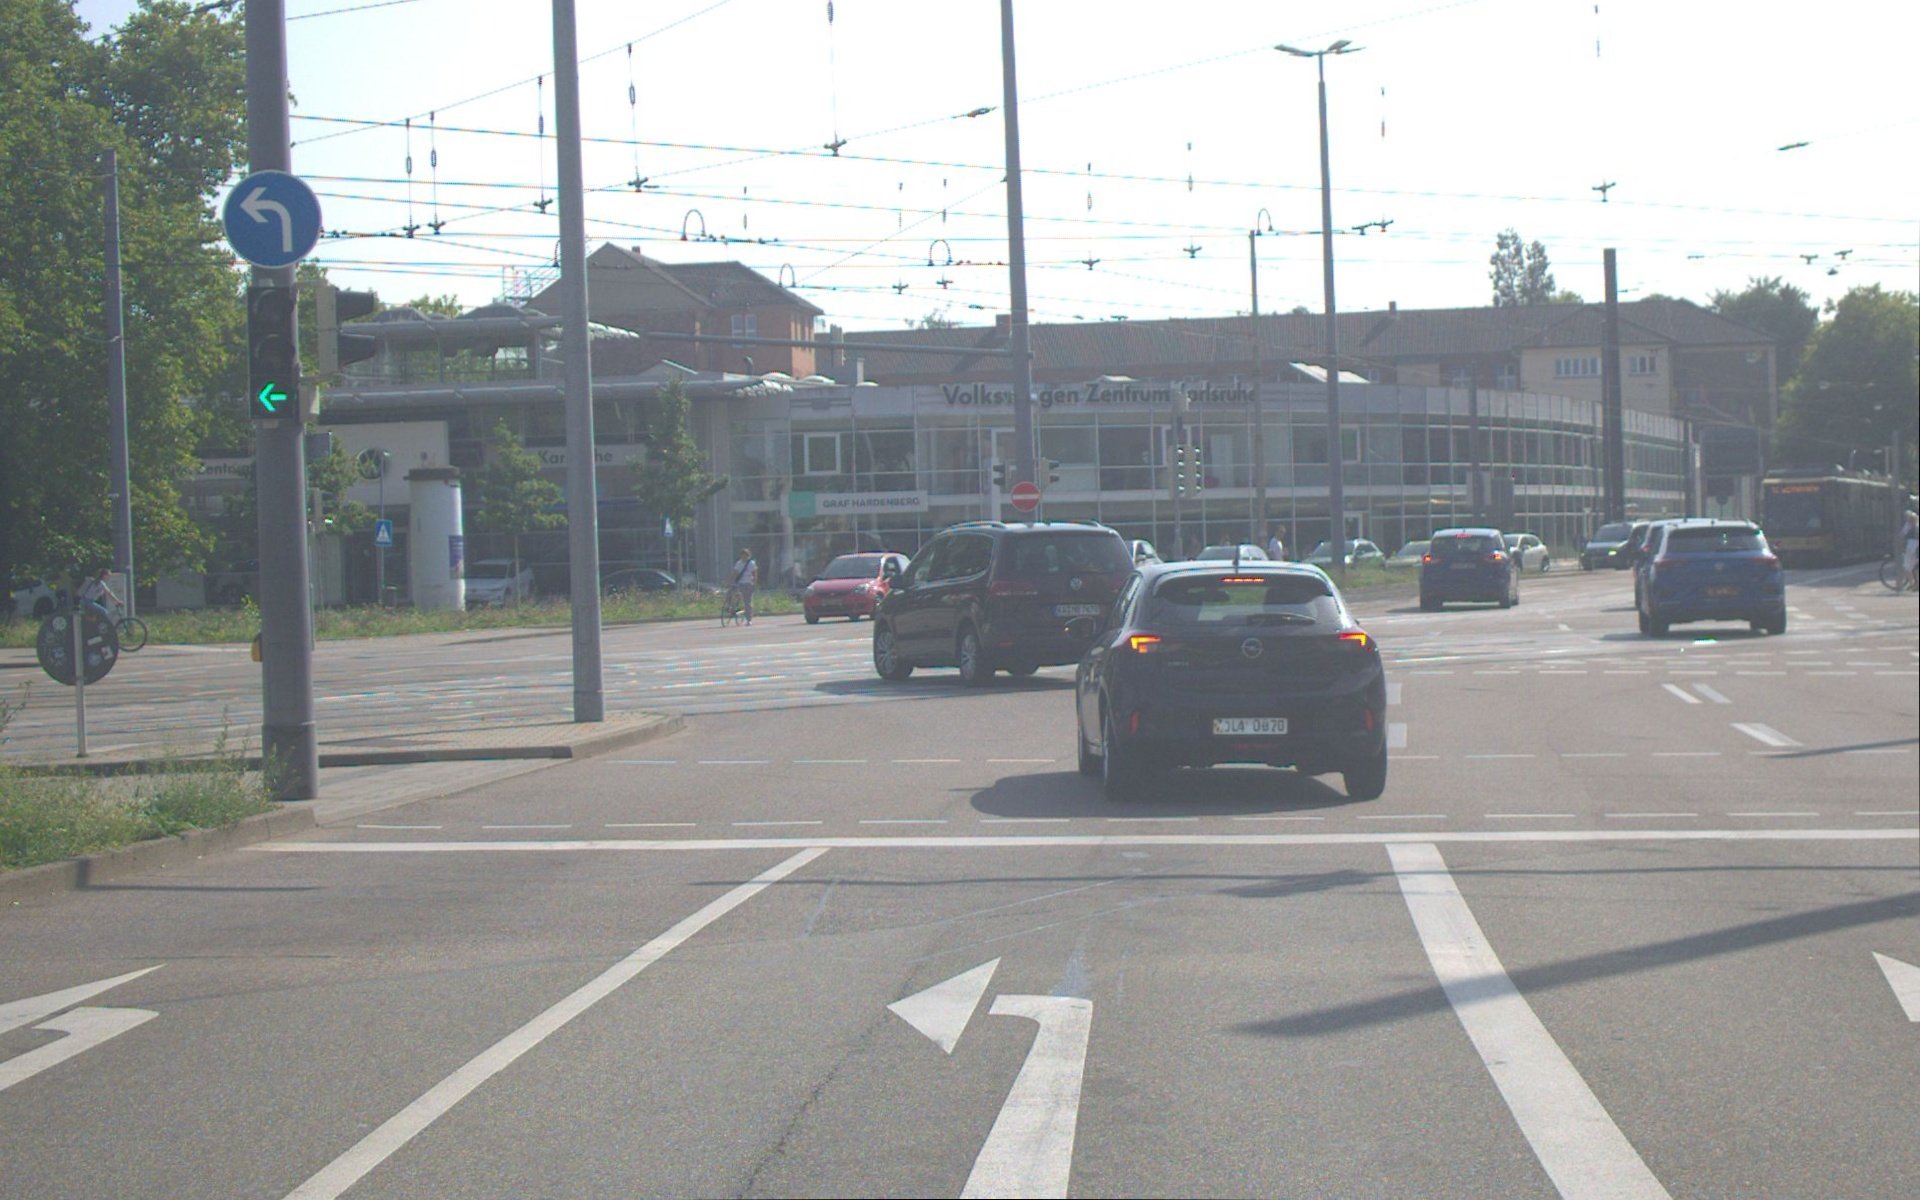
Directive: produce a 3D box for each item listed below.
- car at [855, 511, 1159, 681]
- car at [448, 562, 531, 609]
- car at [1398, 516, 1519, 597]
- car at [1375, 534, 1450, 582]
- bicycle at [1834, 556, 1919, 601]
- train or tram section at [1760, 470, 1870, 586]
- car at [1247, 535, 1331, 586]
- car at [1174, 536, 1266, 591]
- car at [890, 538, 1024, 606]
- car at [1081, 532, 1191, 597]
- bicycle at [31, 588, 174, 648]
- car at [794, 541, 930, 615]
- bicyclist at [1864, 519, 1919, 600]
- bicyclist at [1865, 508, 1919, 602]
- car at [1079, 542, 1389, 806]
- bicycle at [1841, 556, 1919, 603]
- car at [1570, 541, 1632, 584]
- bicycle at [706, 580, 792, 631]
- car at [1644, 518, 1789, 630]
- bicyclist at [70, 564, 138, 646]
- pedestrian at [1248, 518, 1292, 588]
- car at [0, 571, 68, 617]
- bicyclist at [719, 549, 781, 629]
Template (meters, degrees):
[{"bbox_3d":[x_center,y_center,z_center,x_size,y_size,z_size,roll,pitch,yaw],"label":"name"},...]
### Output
[{"bbox_3d":[0.437,-0.077,37.561,1.825,1.708,4.413,-1,1,-20],"label":"car"},{"bbox_3d":[-15.785,-0.503,115.447,1.700,1.517,4.098,-1,1,8],"label":"car"},{"bbox_3d":[10.065,-0.901,69.208,1.827,1.530,4.409,-1,1,15],"label":"car"},{"bbox_3d":[15.132,-1.411,114.848,1.616,1.470,3.996,-3,0,20],"label":"car"},{"bbox_3d":[21.018,-0.494,77.015,2.617,0.961,1.093,-2,1,-20],"label":"bicycle"},{"bbox_3d":[29.037,-2.487,116.422,2.657,3.686,10.580,-1,1,19],"label":"train or tram section"},{"bbox_3d":[10.293,-1.238,107.394,1.616,1.470,3.996,-3,0,20],"label":"car"},{"bbox_3d":[7.615,-1.070,100.511,1.616,1.470,3.996,-3,0,20],"label":"car"},{"bbox_3d":[-0.043,-0.685,82.512,1.962,1.470,3.996,-3,0,19],"label":"car"},{"bbox_3d":[4.353,-0.899,84.655,1.615,1.470,3.996,-3,0,19],"label":"car"},{"bbox_3d":[-16.567,0.337,66.509,2.599,1.053,0.961,-2,1,-11],"label":"bicycle"},{"bbox_3d":[-2.104,-0.502,75.141,1.615,1.470,3.996,-3,0,19],"label":"car"},{"bbox_3d":[20.994,-0.913,77.001,0.934,1.793,1.093,-2,1,-20],"label":"bicyclist"},{"bbox_3d":[20.438,-0.987,74.742,0.934,2.017,1.093,-2,1,-33],"label":"bicyclist"},{"bbox_3d":[1.672,0.392,22.211,1.682,1.486,4.372,2,1,1],"label":"car"},{"bbox_3d":[20.489,-0.446,74.772,2.618,0.961,1.093,-2,1,-33],"label":"bicycle"},{"bbox_3d":[24.055,-1.422,128.954,1.616,1.470,3.996,-3,0,20],"label":"car"},{"bbox_3d":[-4.661,0.115,76.149,0.958,1.053,2.606,-1,1,20],"label":"bicycle"},{"bbox_3d":[10.408,-0.389,47.303,1.826,1.423,4.410,-1,1,13],"label":"car"},{"bbox_3d":[-16.549,0.094,66.508,1.162,1.522,0.961,-3,1,-11],"label":"bicyclist"},{"bbox_3d":[6.771,-1.032,75.184,0.778,1.498,0.709,-1,1,19],"label":"pedestrian"},{"bbox_3d":[-32.940,-0.179,117.834,1.703,1.517,4.506,0,1,35],"label":"car"},{"bbox_3d":[-4.650,-0.249,76.189,0.958,1.742,1.165,-1,1,20],"label":"bicyclist"}]
